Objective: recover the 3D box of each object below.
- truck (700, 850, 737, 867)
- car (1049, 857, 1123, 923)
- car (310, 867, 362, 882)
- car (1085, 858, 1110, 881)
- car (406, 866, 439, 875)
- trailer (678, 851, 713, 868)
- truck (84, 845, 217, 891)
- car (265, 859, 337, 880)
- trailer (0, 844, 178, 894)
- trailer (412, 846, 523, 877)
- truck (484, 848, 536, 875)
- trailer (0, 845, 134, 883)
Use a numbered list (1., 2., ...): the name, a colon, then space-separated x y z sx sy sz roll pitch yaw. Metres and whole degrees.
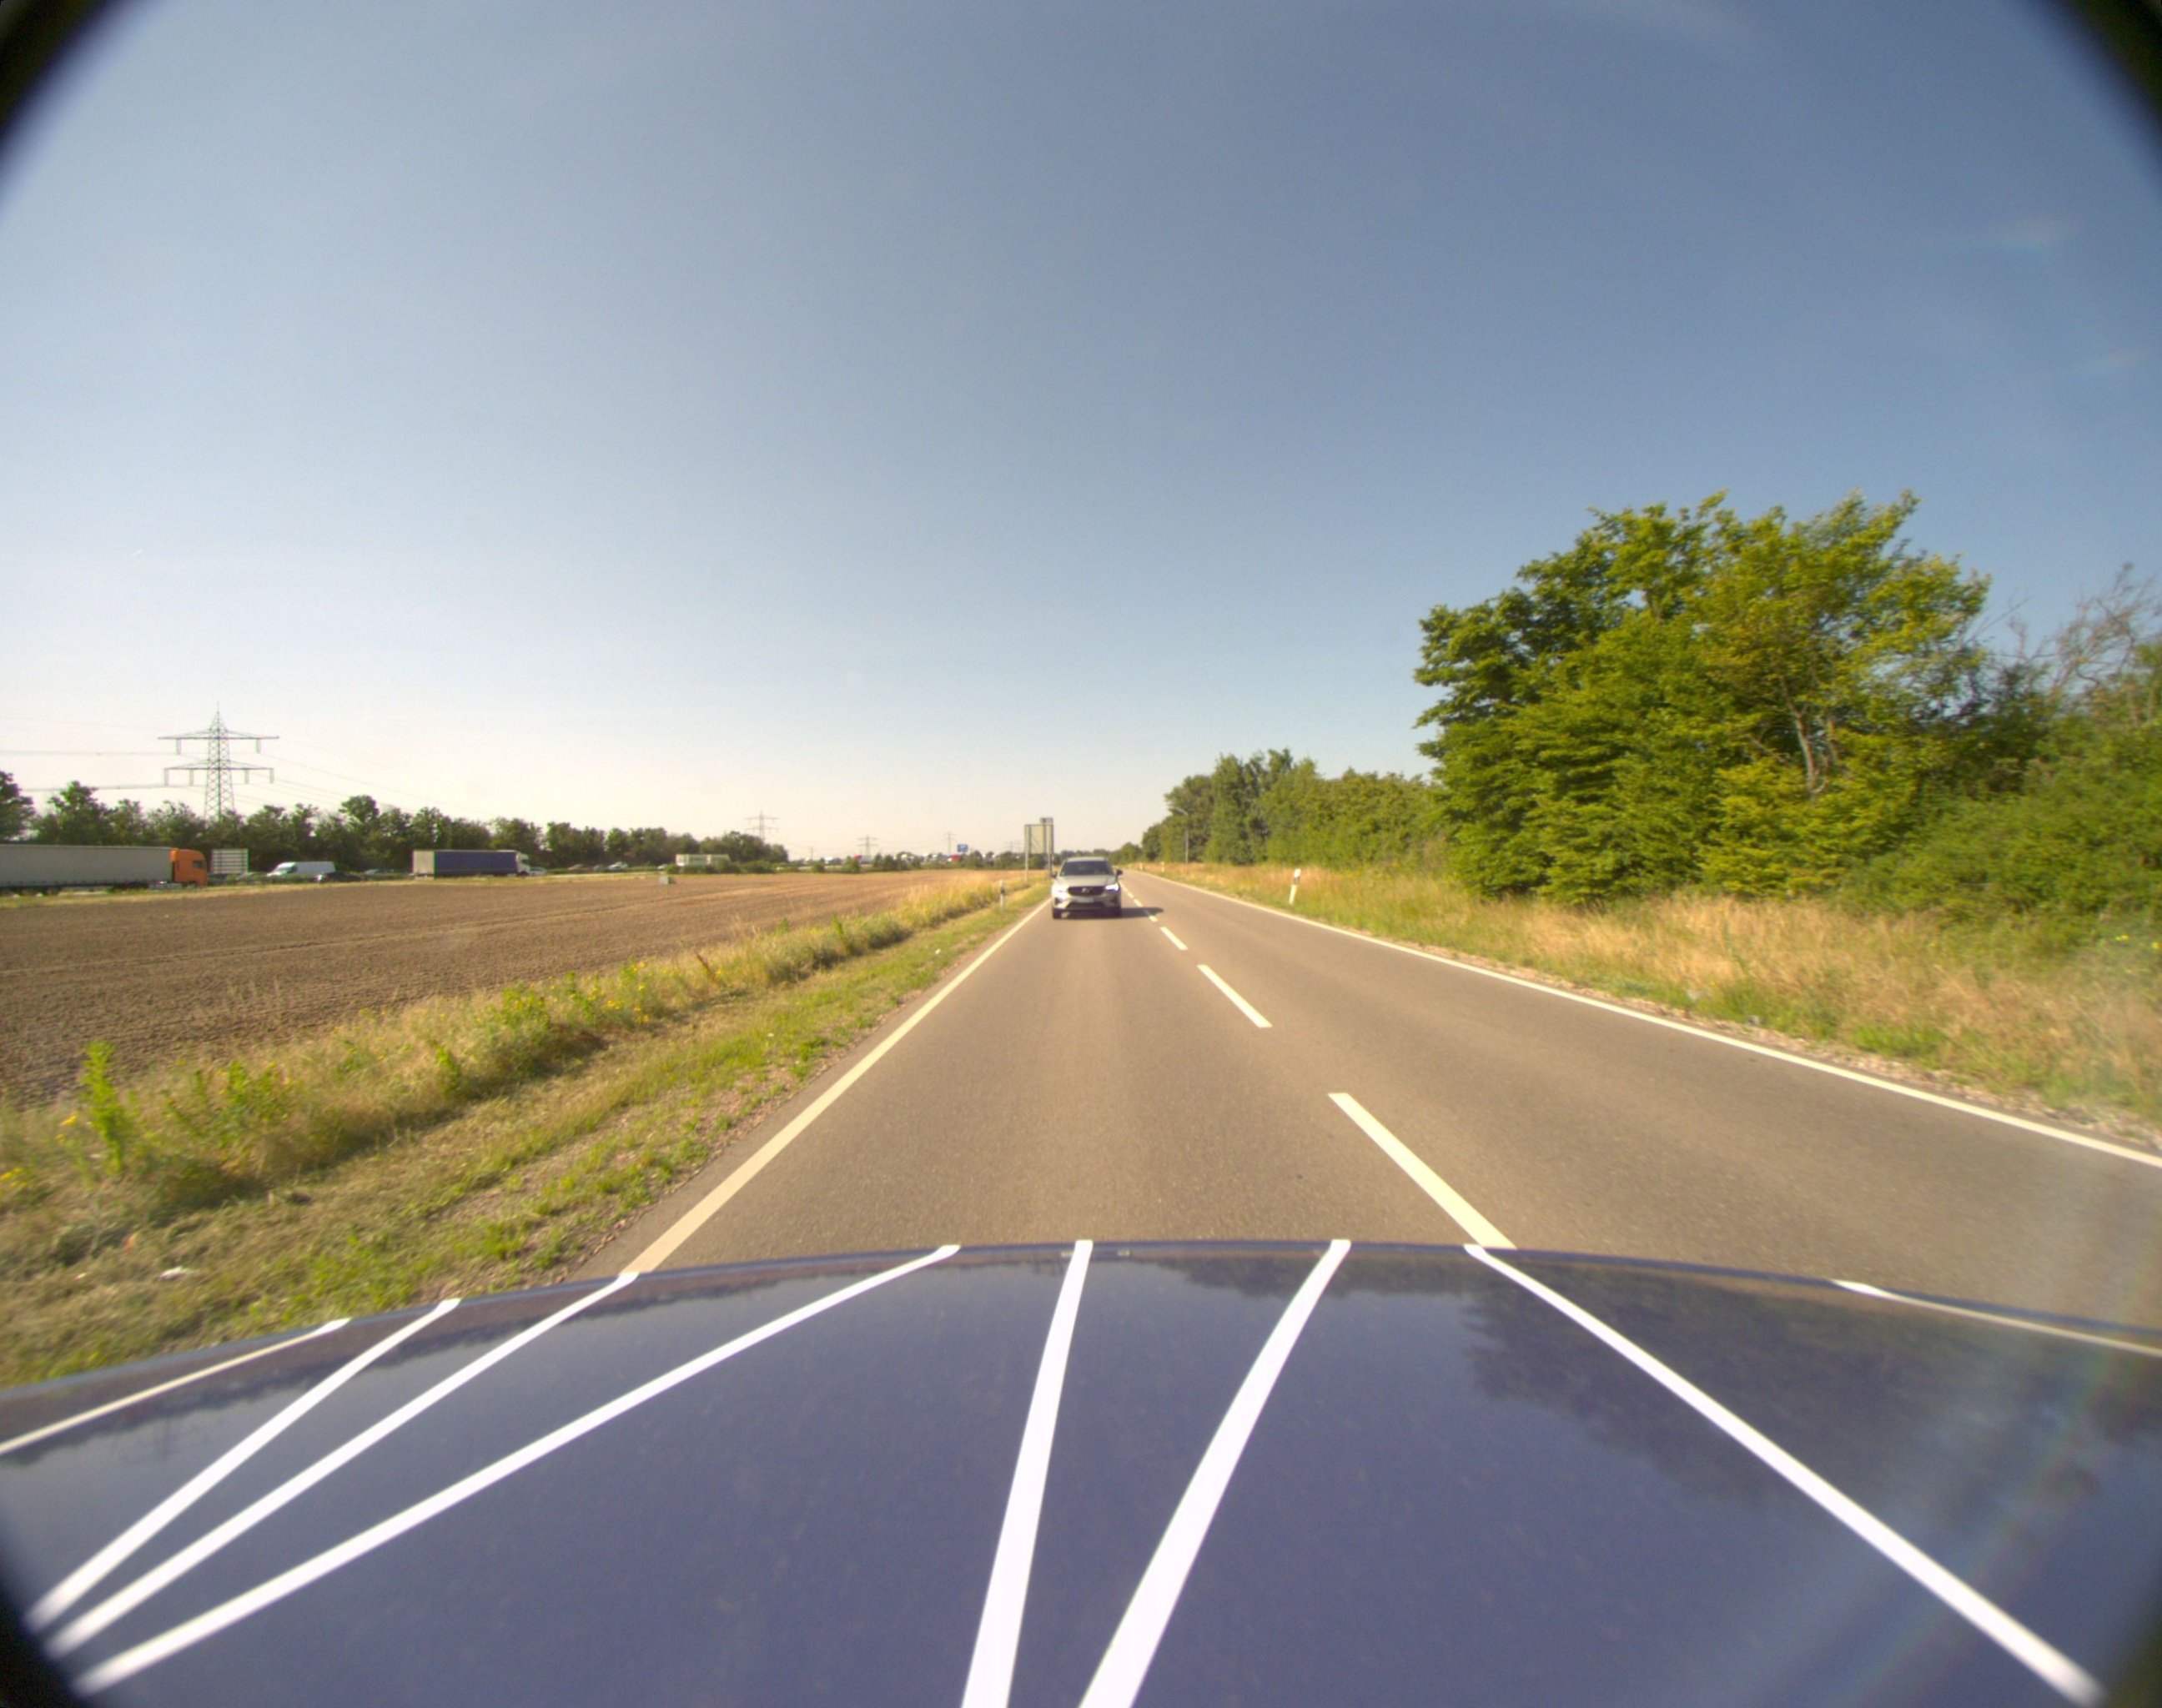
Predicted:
1. truck: -80.525 0.985 168.893 2.813 3.457 11.120 -1 0 0
2. car: 0.191 0.939 21.575 1.840 1.627 4.136 -2 0 1
3. car: -86.248 2.314 88.027 1.998 1.566 3.894 -3 0 1
4. car: 1.284 1.175 59.317 1.840 1.627 4.135 -2 0 1
5. car: -93.273 2.305 107.680 1.343 1.118 3.862 -2 0 1
6. trailer: -80.569 1.081 159.026 2.800 3.395 8.718 -1 0 0
7. truck: -82.902 1.185 67.931 3.111 3.826 6.951 -2 0 1
8. car: -95.303 1.856 92.973 2.042 2.432 6.414 -2 0 2
9. trailer: -83.013 1.176 61.578 3.111 3.826 13.719 -2 0 1
10. trailer: -81.532 1.057 101.592 3.080 3.779 14.593 -2 -1 -1
11. truck: -81.596 1.075 108.676 3.080 3.779 5.611 -2 -1 -1
12. trailer: -100.649 0.916 71.881 3.210 3.510 15.083 0 0 0
